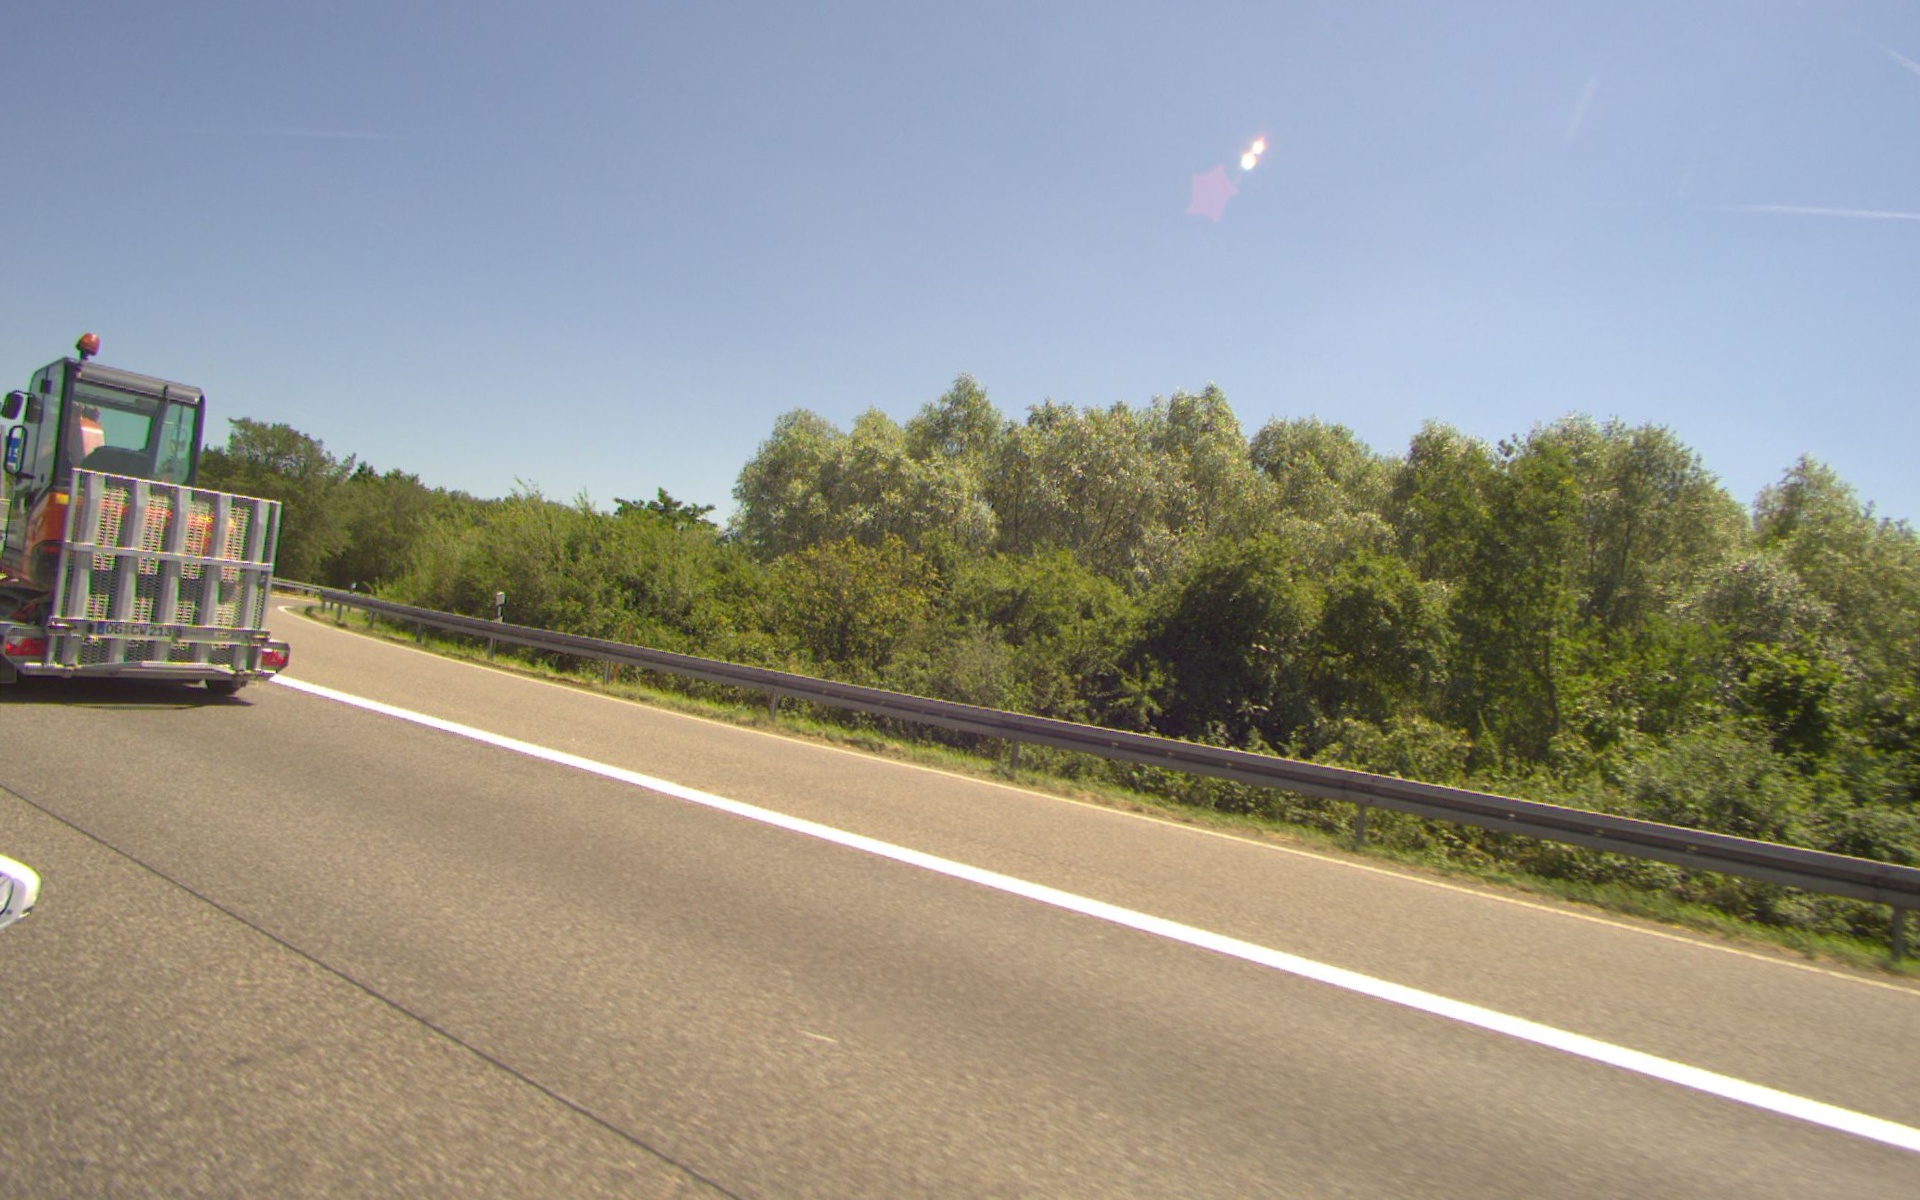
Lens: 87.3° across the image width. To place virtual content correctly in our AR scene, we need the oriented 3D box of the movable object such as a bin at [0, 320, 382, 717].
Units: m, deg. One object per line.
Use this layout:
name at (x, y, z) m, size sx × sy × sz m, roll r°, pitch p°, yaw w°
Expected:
movable object such as a bin at (-7.931, -0.693, 9.370) m, size 4.682 × 2.847 × 2.179 m, roll 6°, pitch -2°, yaw 32°

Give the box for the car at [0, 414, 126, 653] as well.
car at (-13.082, -1.039, 12.359) m, size 7.107 × 2.432 × 1.998 m, roll 6°, pitch -2°, yaw 32°
